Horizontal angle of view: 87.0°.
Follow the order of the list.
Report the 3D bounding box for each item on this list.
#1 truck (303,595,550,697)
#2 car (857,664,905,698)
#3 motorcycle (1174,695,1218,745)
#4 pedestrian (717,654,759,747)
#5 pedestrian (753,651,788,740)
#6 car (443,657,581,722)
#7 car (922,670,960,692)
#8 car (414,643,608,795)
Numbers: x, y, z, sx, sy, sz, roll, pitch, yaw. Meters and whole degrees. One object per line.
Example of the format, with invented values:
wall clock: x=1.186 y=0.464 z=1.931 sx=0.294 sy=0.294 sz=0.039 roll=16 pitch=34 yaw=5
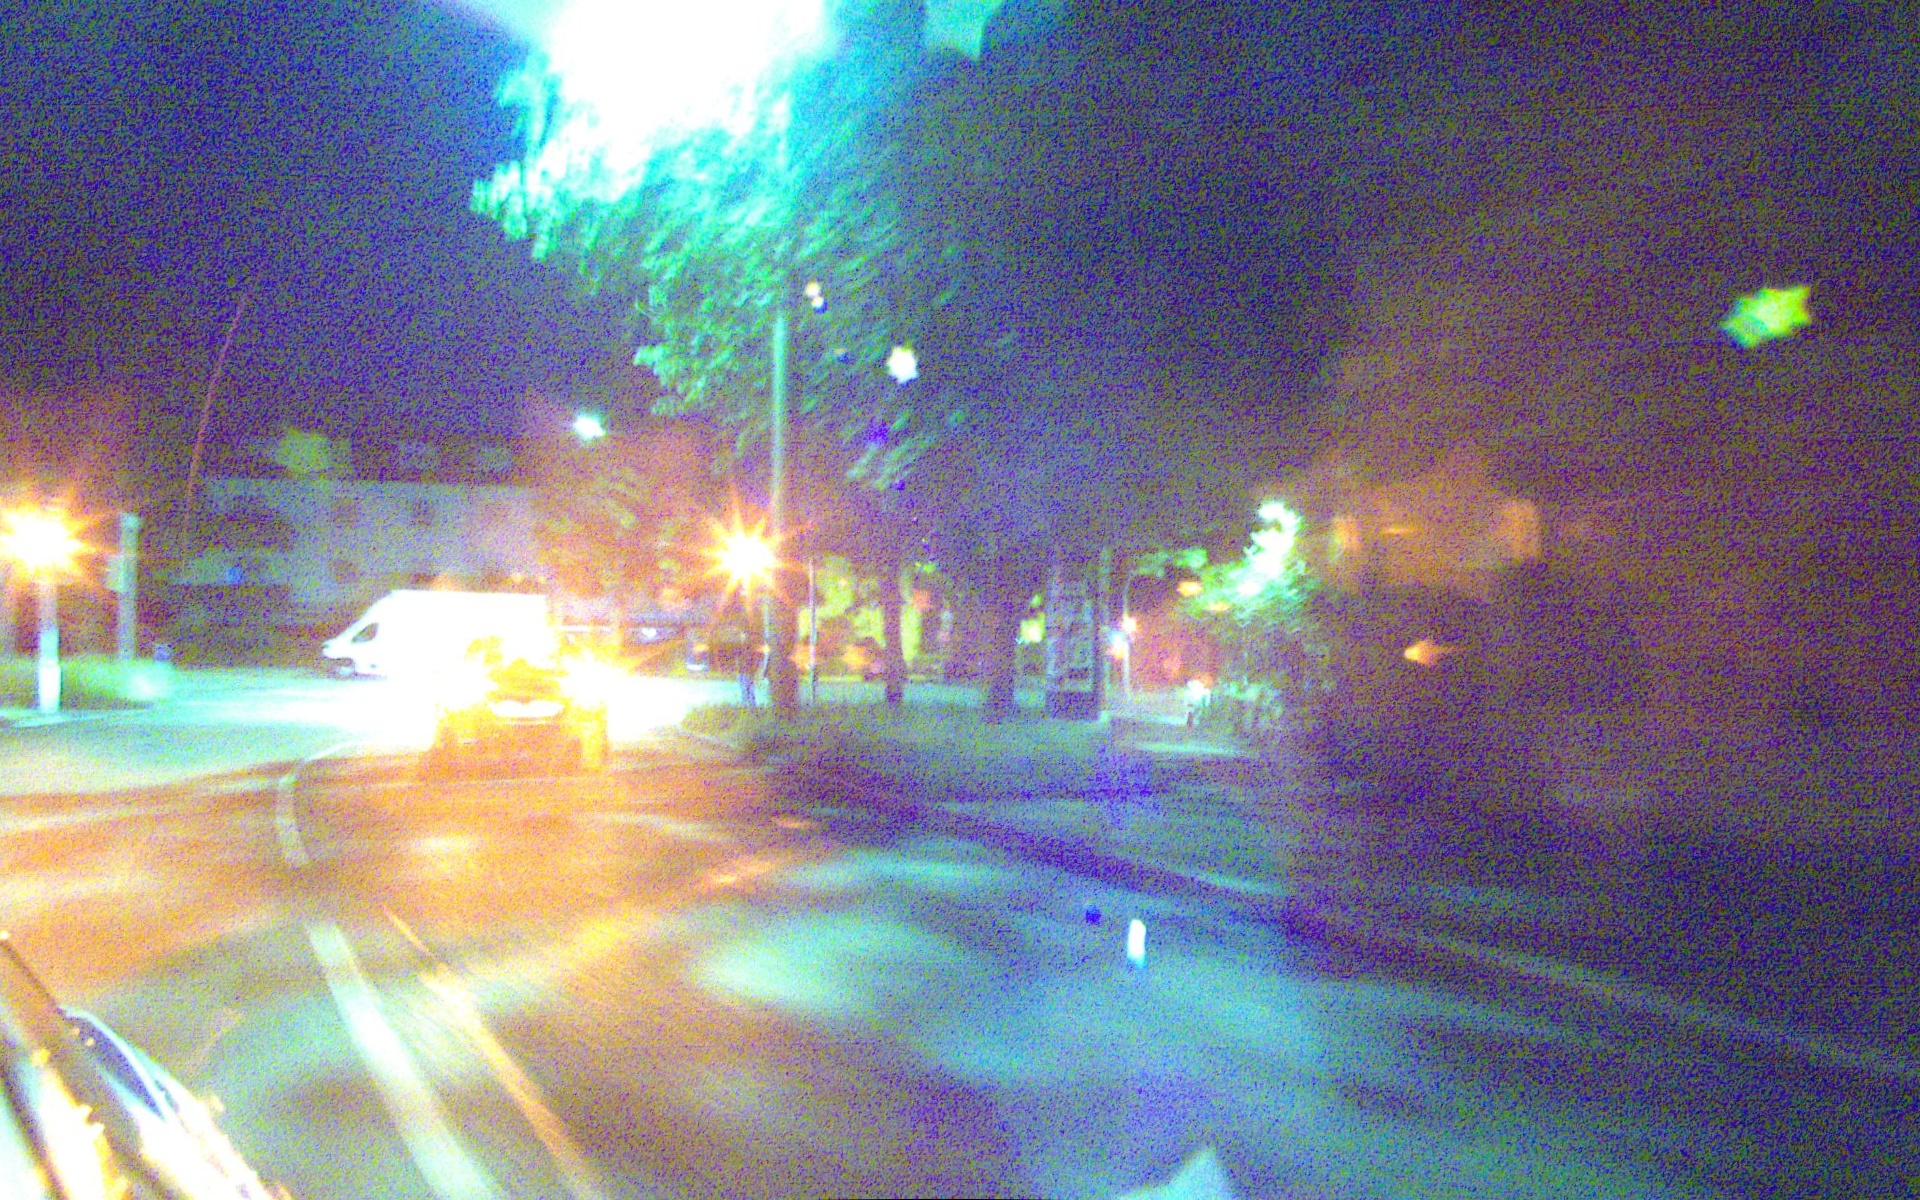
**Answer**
truck: x=-17.937 y=1.561 z=34.565 sx=6.916 sy=3.067 sz=2.781 roll=3 pitch=-1 yaw=-17
car: x=-3.978 y=4.027 z=50.397 sx=2.021 sy=1.567 sz=4.262 roll=2 pitch=-4 yaw=-8
motorcycle: x=6.188 y=3.110 z=26.463 sx=0.615 sy=1.239 sz=2.020 roll=-1 pitch=-5 yaw=29
pedestrian: x=-4.429 y=1.993 z=20.205 sx=0.717 sy=1.783 sz=0.967 roll=3 pitch=-5 yaw=-12
pedestrian: x=-3.949 y=1.996 z=21.159 sx=0.516 sy=1.806 sz=0.692 roll=1 pitch=-5 yaw=2
car: x=-11.246 y=2.252 z=25.581 sx=1.501 sy=1.513 sz=3.032 roll=0 pitch=-5 yaw=18
car: x=-1.208 y=5.306 z=66.329 sx=1.624 sy=1.367 sz=3.679 roll=1 pitch=-4 yaw=13
car: x=-5.294 y=1.247 z=11.923 sx=1.701 sy=1.441 sz=4.303 roll=2 pitch=-3 yaw=-25
